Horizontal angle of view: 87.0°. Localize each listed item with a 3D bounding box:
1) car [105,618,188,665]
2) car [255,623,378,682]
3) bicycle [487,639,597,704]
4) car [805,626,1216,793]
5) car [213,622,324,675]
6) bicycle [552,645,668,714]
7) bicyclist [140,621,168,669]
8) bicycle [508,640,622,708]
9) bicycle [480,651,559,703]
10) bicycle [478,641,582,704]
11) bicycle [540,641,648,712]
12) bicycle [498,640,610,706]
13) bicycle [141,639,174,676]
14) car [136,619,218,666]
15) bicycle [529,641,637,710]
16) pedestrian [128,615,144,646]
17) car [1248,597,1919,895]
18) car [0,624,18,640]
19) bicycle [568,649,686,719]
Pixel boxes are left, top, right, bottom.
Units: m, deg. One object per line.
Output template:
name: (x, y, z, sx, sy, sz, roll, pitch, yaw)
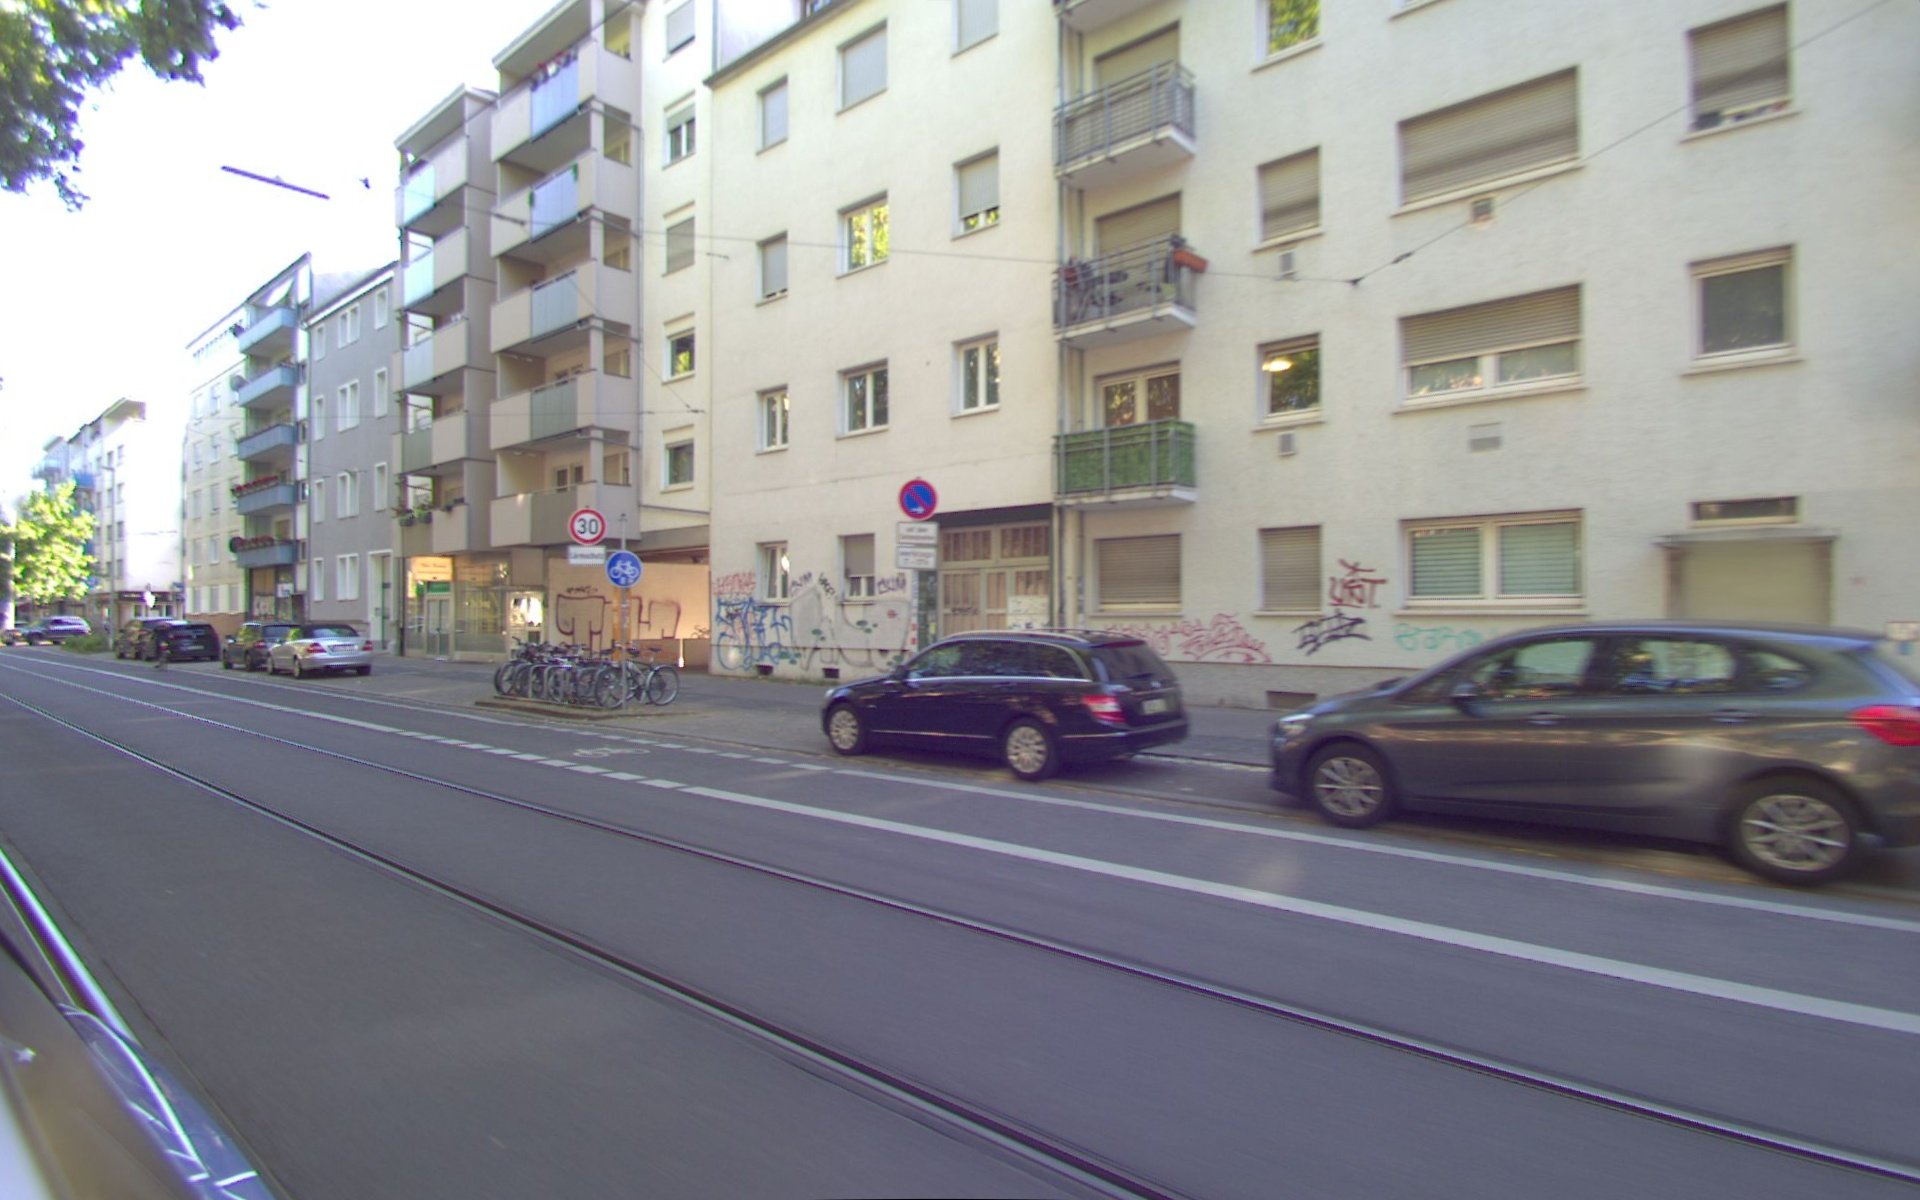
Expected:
car: (-33.235, 1.655, 41.297, 4.485, 1.752, 1.762, -1, 0, 40)
car: (-17.731, 1.380, 27.783, 4.727, 1.502, 1.671, -1, -2, 42)
bicycle: (-8.067, 1.368, 19.590, 1.907, 1.127, 0.440, -1, 0, -42)
car: (0.366, 1.036, 11.239, 4.572, 1.467, 1.699, -1, -2, 43)
car: (-21.298, 1.444, 31.124, 4.238, 1.502, 1.775, -1, -2, 41)
bicycle: (-5.987, 1.342, 17.385, 1.870, 1.045, 0.402, -1, 0, -42)
bicyclist: (-24.051, 1.335, 30.196, 0.709, 1.405, 0.503, -1, -3, 41)
bicycle: (-7.339, 1.353, 18.865, 1.944, 1.127, 0.425, -1, 0, -42)
bicycle: (-8.891, 1.547, 20.493, 0.400, 0.924, 1.609, -1, 0, 25)
bicycle: (-8.498, 1.411, 20.054, 1.870, 1.127, 0.402, -1, 0, -42)
bicycle: (-6.502, 1.336, 18.044, 1.767, 1.127, 0.425, -1, 0, -42)
bicycle: (-7.680, 1.360, 19.214, 1.937, 1.127, 0.440, -1, 0, -42)
bicycle: (-23.848, 1.696, 30.069, 1.946, 1.026, 0.412, -1, -3, 42)
car: (-29.529, 1.571, 38.124, 4.199, 1.612, 1.639, -1, 0, 41)
bicycle: (-6.831, 1.343, 18.404, 1.797, 1.127, 0.425, -1, 0, -42)
pedestrian: (-51.588, 1.918, 63.353, 0.762, 1.913, 0.800, -1, 0, -41)
car: (4.522, 0.844, 7.387, 4.344, 1.644, 1.701, -1, -2, 40)
car: (-90.268, 2.992, 94.109, 1.587, 1.535, 3.899, -2, -2, 45)
bicycle: (-5.571, 1.386, 17.027, 1.870, 1.045, 0.402, -1, 0, -42)
